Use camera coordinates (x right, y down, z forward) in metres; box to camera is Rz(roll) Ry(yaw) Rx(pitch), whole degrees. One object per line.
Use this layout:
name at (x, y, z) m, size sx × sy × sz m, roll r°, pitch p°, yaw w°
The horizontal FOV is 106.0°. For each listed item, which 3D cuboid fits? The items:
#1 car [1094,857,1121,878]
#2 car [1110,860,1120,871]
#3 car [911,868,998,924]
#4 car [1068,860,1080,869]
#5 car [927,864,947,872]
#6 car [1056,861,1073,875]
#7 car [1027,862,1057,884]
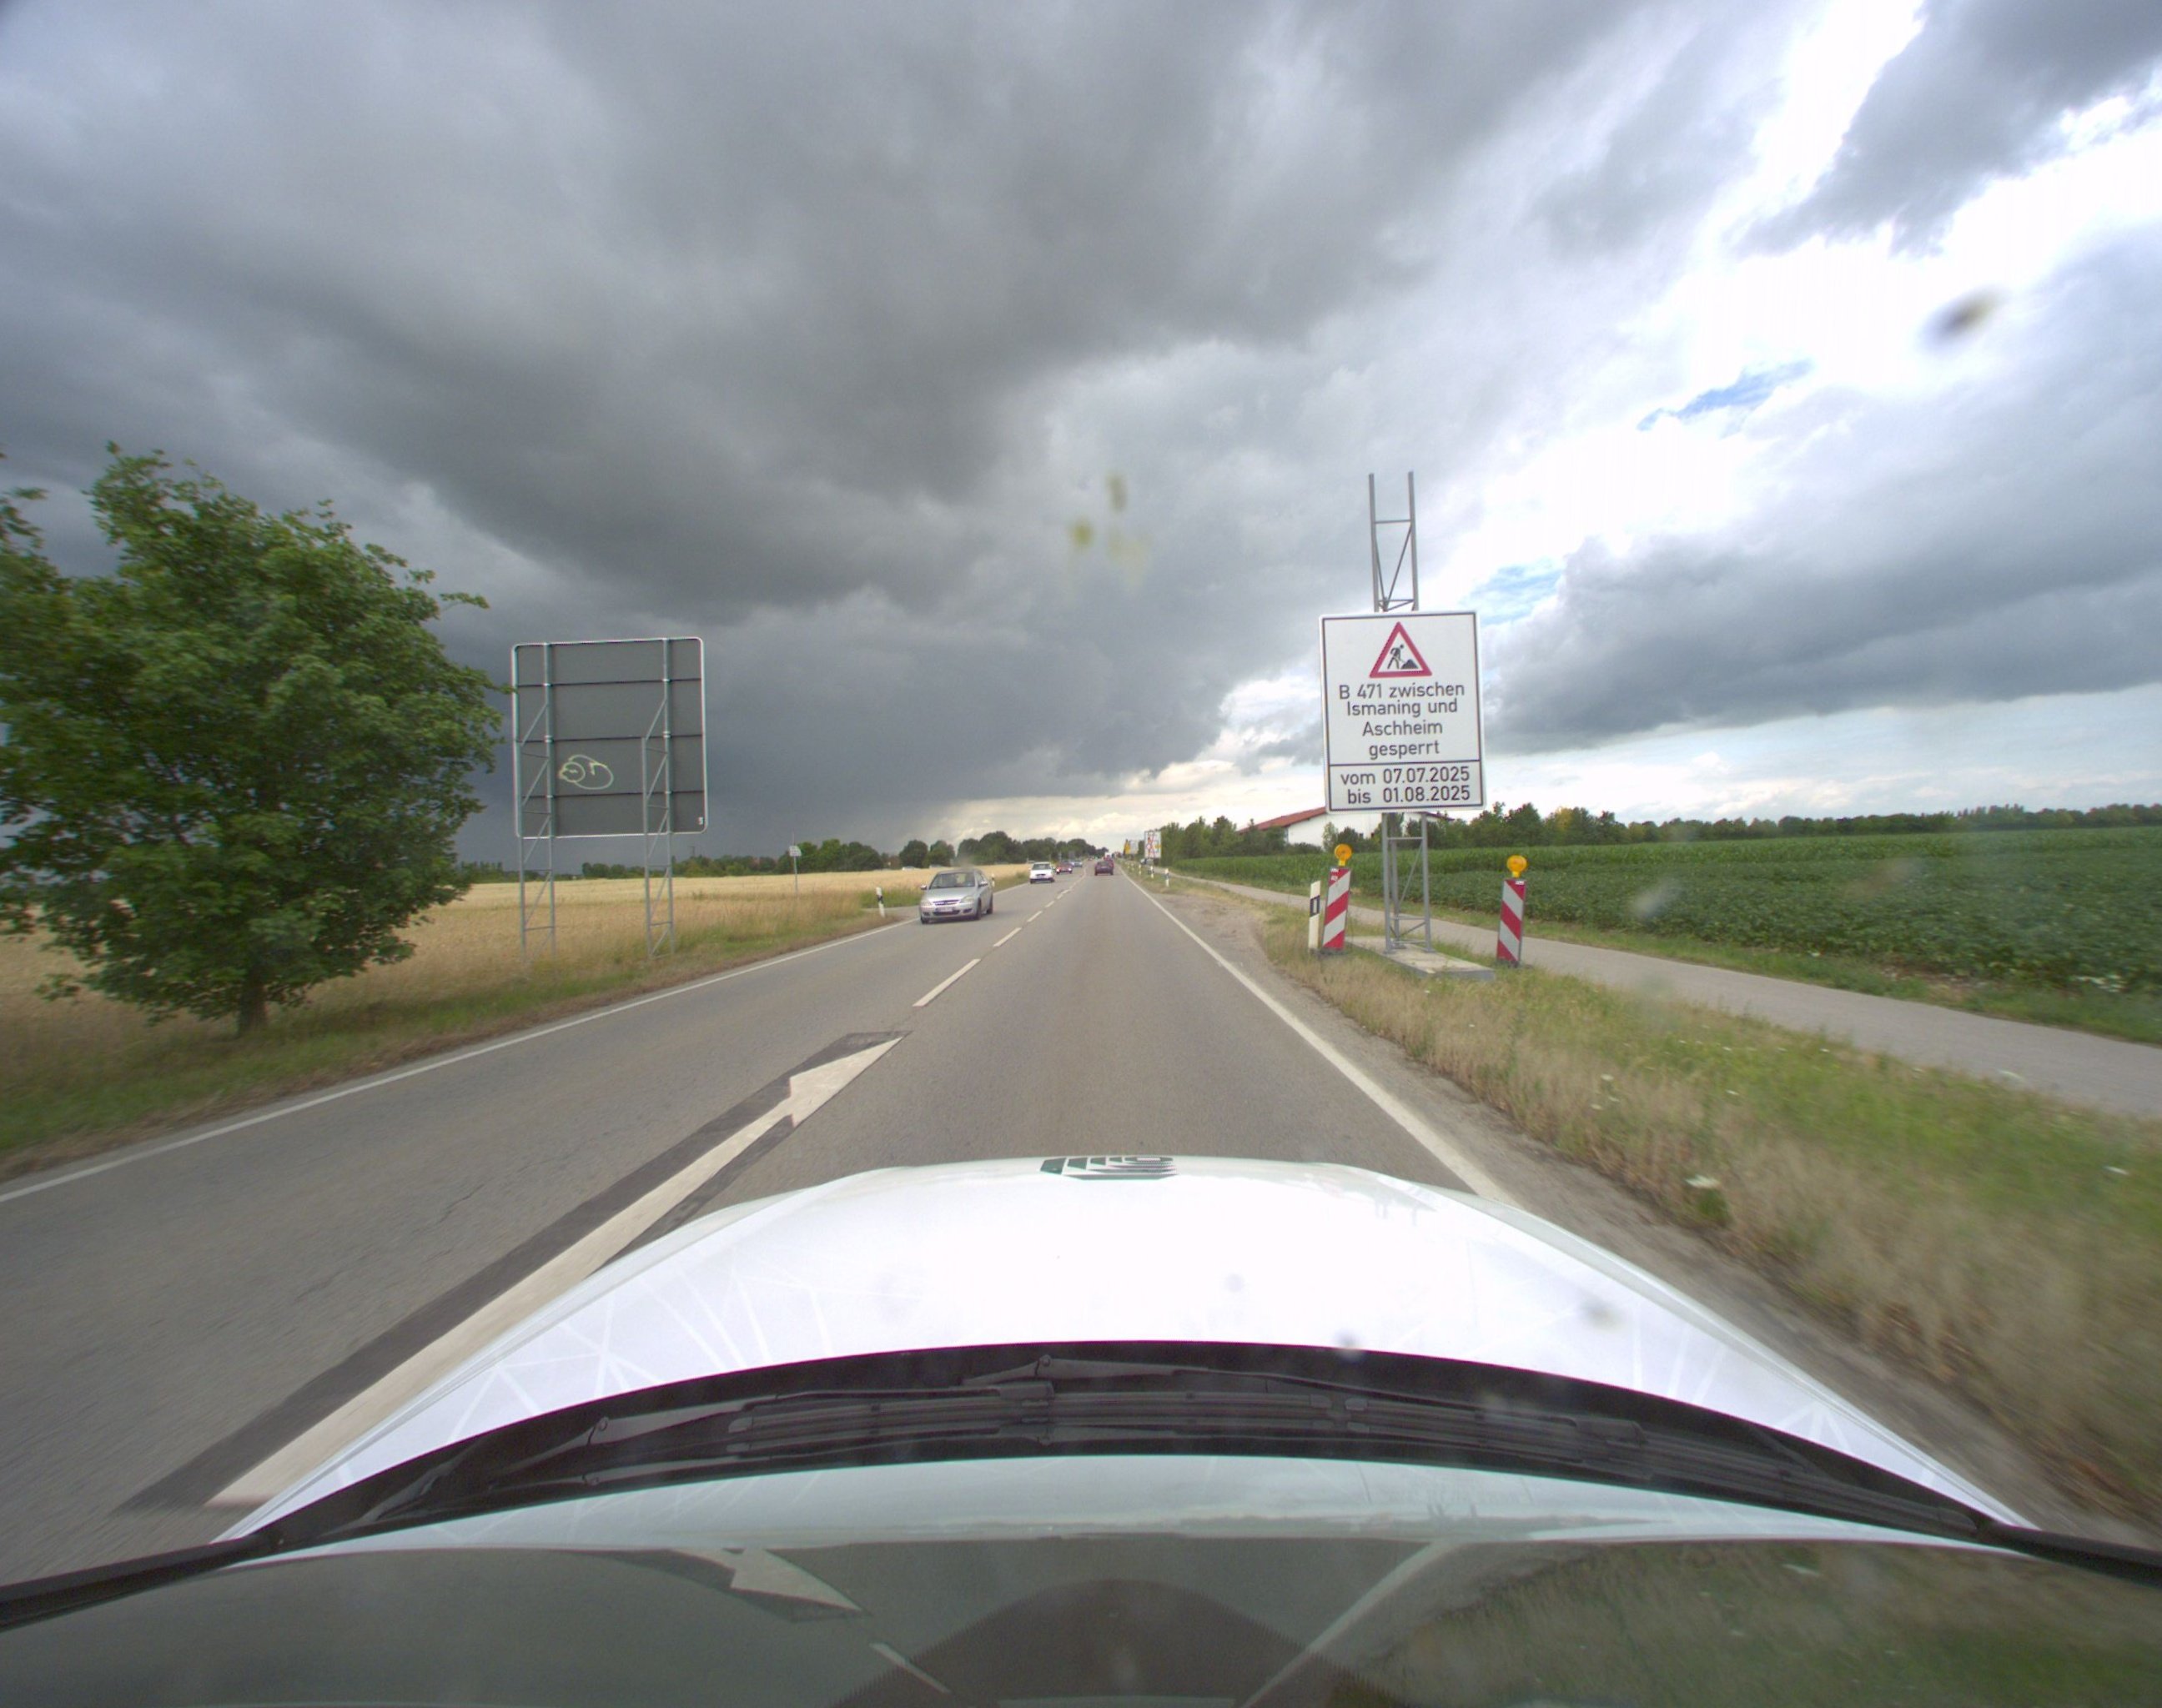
car at (2.565, 1.338, 80.597) m, size 2.365 × 1.880 × 4.476 m, roll -4°, pitch -1°, yaw -1°
car at (5.716, 1.980, 137.975) m, size 1.565 × 1.701 × 4.002 m, roll -2°, pitch -1°, yaw 2°
car at (-3.558, 1.154, 23.507) m, size 1.722 × 1.363 × 3.951 m, roll -2°, pitch 0°, yaw 2°
car at (-1.383, 2.005, 161.302) m, size 2.057 × 1.580 × 4.767 m, roll -3°, pitch 0°, yaw 2°
car at (-33.372, 3.303, 188.771) m, size 4.051 × 1.649 × 1.869 m, roll -2°, pitch -1°, yaw 5°
car at (-1.965, 1.666, 97.610) m, size 1.706 × 1.488 × 4.610 m, roll -2°, pitch 0°, yaw 2°
car at (-2.808, 1.338, 59.515) m, size 1.799 × 1.456 × 4.115 m, roll -2°, pitch 0°, yaw 2°
